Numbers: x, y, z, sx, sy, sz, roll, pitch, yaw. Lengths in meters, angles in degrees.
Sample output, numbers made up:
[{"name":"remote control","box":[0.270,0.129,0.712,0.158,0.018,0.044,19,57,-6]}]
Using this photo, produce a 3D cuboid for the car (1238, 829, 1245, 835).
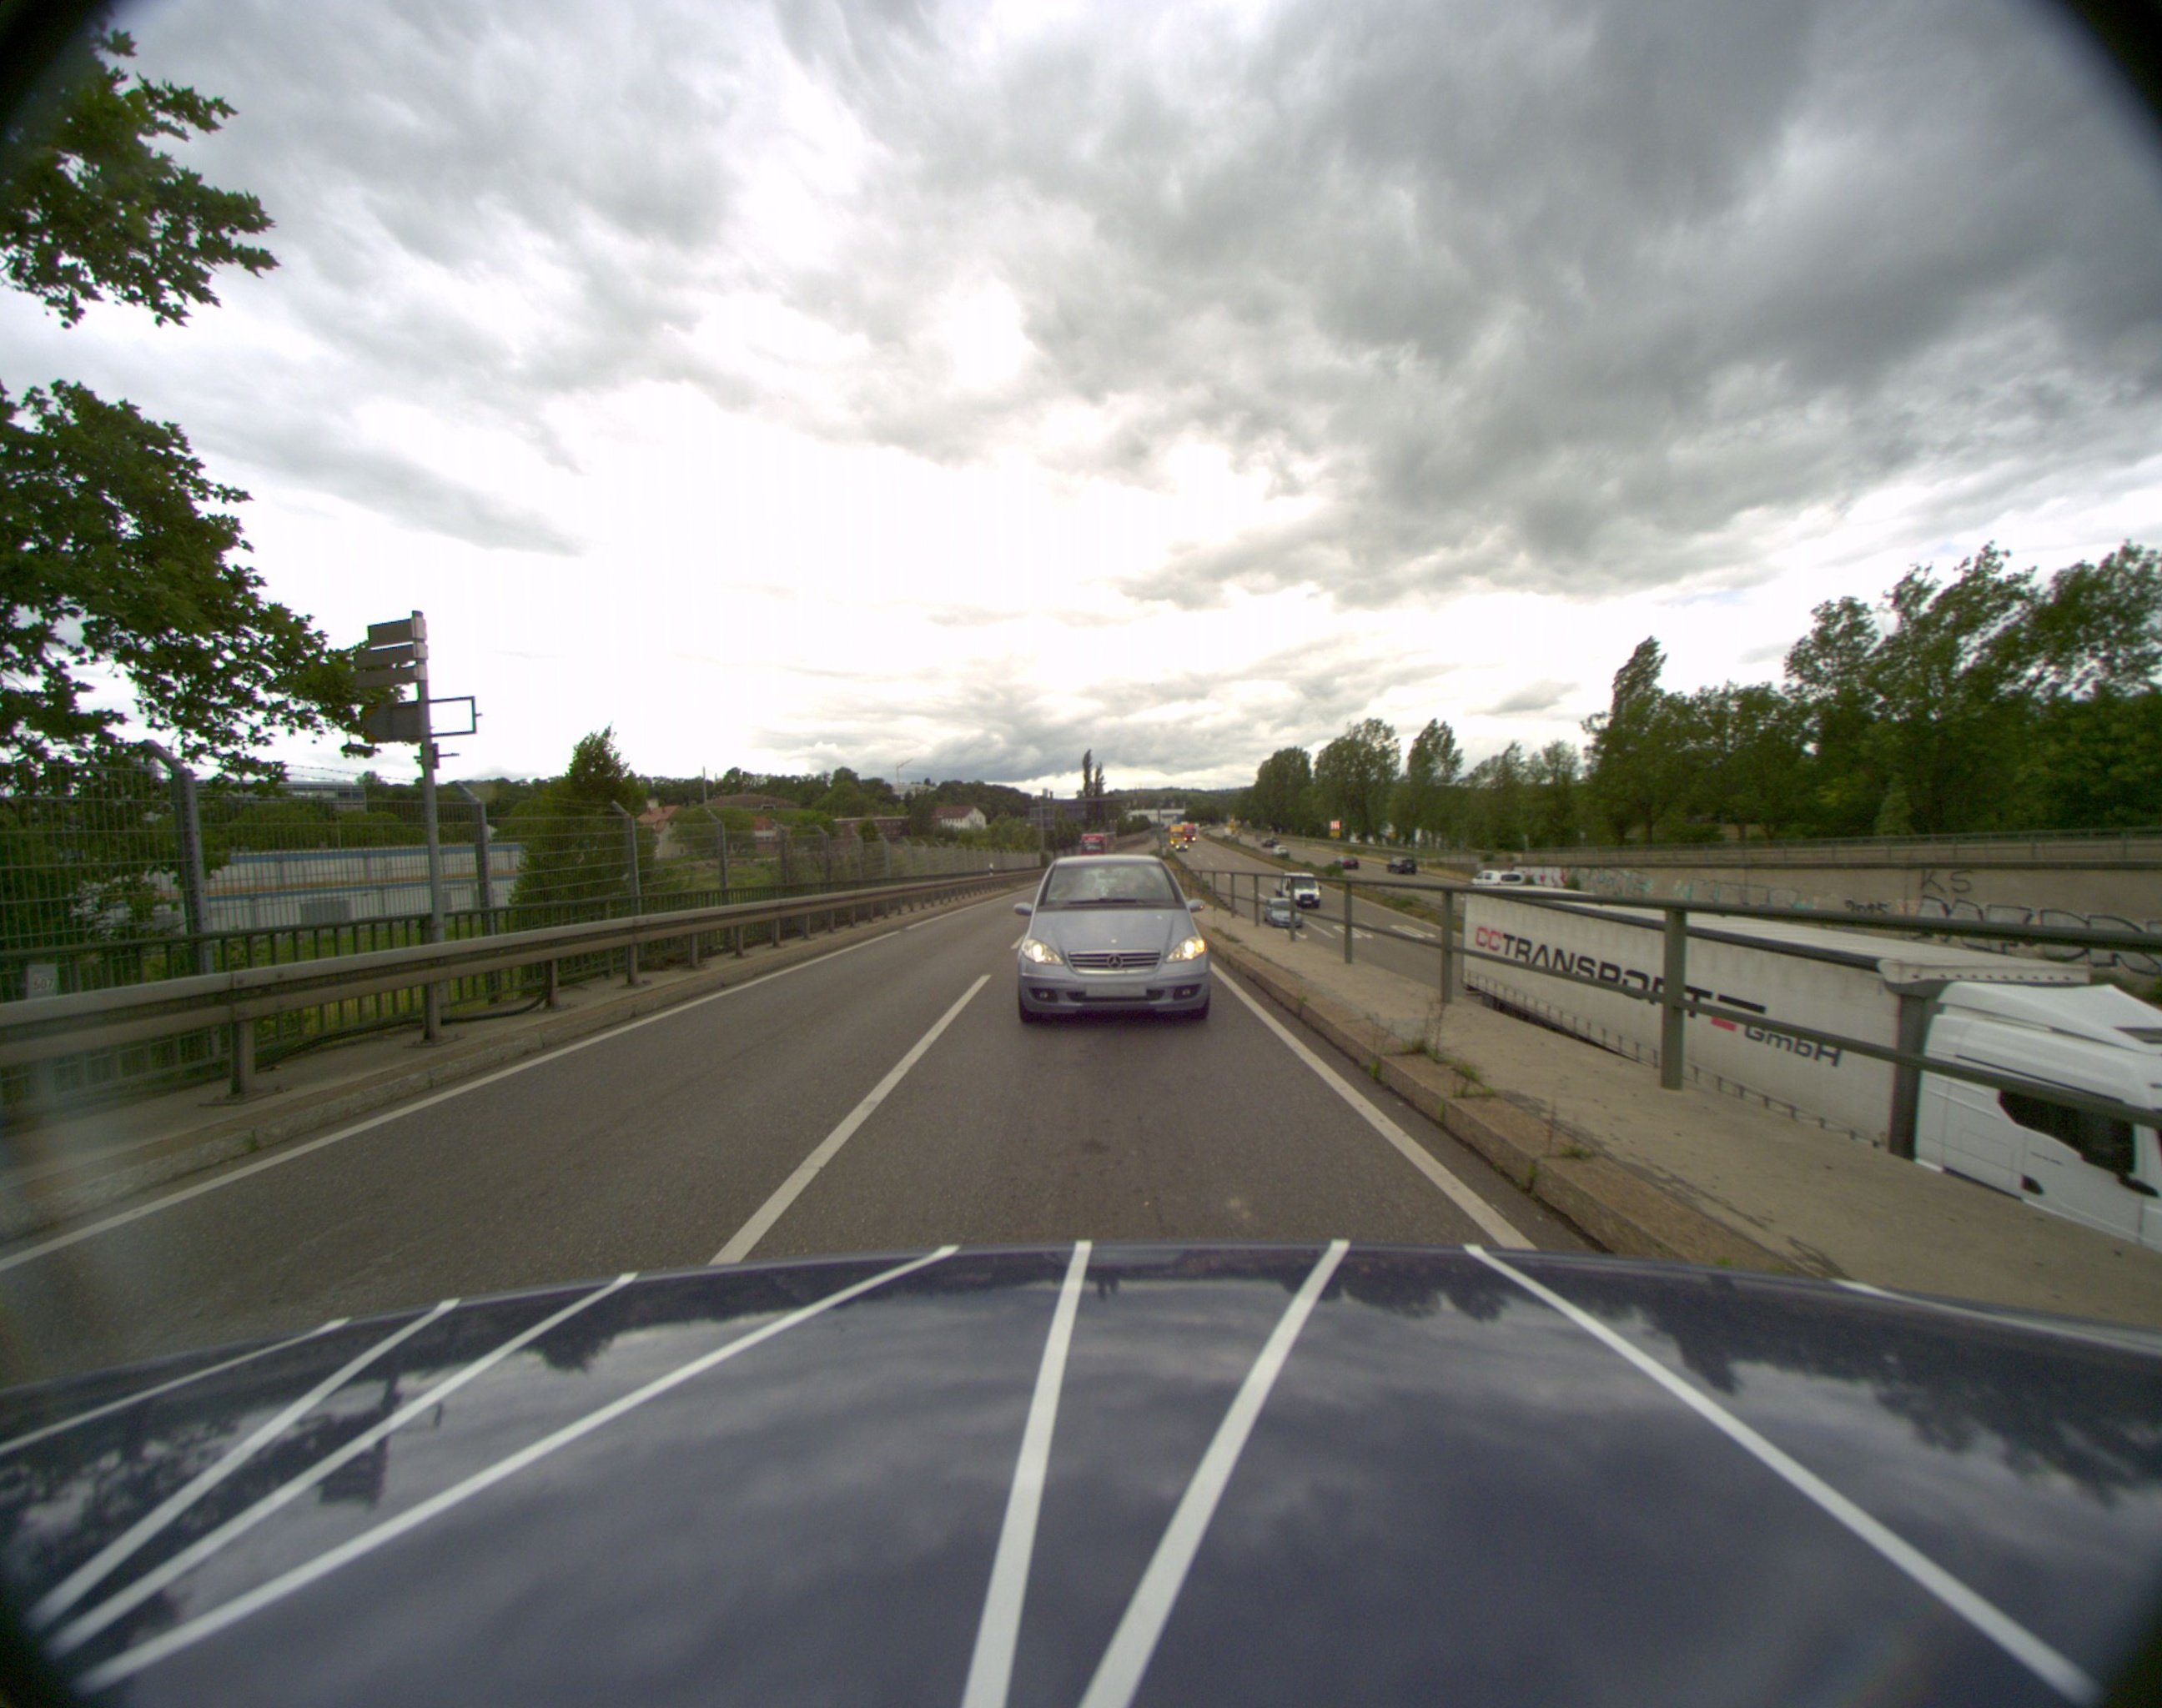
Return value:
[{"name":"car","box":[48.366,-6.690,228.598,1.662,1.643,3.772,0,3,4]}]

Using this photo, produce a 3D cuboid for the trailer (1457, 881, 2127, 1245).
[{"name":"trailer","box":[13.708,3.302,18.014,3.010,4.087,13.982,0,3,2]}]

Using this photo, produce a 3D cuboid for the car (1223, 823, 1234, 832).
[{"name":"car","box":[42.496,-7.615,219.449,2.172,2.580,6.099,-1,3,1]}]

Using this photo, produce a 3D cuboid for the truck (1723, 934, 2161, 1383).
[{"name":"truck","box":[13.467,3.668,11.178,3.010,4.088,5.871,0,3,2]}]

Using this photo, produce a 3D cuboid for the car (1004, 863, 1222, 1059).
[{"name":"car","box":[0.294,0.890,8.120,1.743,1.534,3.992,0,0,1]}]

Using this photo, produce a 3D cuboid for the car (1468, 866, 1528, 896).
[{"name":"car","box":[31.807,2.005,58.113,1.952,1.897,4.907,0,3,1]}]

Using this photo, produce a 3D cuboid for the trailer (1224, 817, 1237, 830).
[{"name":"trailer","box":[51.568,-10.676,262.232,3.247,4.239,13.677,0,3,5]}]

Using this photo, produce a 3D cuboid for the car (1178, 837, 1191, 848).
[{"name":"car","box":[17.356,-1.999,127.590,1.810,1.658,3.999,-1,3,4]}]

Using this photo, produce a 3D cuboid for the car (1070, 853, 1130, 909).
[{"name":"car","box":[0.621,0.865,25.749,1.830,1.701,4.001,-2,-1,1]}]

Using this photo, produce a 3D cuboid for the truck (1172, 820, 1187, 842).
[{"name":"truck","box":[19.200,-4.589,148.516,2.415,4.100,8.168,0,4,4]}]

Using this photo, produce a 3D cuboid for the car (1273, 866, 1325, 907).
[{"name":"car","box":[15.226,2.197,53.458,2.104,2.231,6.498,0,3,3]}]

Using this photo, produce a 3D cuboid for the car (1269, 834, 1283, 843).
[{"name":"car","box":[39.063,-3.155,152.310,1.864,1.643,4.632,0,3,4]}]

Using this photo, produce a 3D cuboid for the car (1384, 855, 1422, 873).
[{"name":"car","box":[33.096,1.017,78.329,1.998,1.617,4.576,0,3,1]}]

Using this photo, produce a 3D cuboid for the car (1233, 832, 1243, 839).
[{"name":"car","box":[34.778,-4.097,168.053,1.717,1.446,3.650,0,3,6]}]

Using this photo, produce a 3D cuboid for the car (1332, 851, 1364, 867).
[{"name":"car","box":[30.053,0.547,85.537,1.998,1.617,4.576,0,3,1]}]

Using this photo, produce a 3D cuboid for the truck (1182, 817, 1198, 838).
[{"name":"truck","box":[25.056,-6.080,175.435,2.754,4.712,9.916,1,3,4]}]

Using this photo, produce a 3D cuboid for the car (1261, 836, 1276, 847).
[{"name":"car","box":[34.415,-2.327,139.380,1.886,1.709,4.180,0,3,3]}]

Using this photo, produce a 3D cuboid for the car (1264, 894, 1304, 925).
[{"name":"car","box":[11.661,3.169,43.929,1.512,1.365,3.536,0,3,3]}]

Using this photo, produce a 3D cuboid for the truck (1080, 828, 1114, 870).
[{"name":"truck","box":[1.822,-0.616,83.252,3.101,3.990,8.487,-1,4,5]}]

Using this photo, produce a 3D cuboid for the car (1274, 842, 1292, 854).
[{"name":"car","box":[29.682,-0.891,111.730,1.778,1.486,3.896,1,3,2]}]
